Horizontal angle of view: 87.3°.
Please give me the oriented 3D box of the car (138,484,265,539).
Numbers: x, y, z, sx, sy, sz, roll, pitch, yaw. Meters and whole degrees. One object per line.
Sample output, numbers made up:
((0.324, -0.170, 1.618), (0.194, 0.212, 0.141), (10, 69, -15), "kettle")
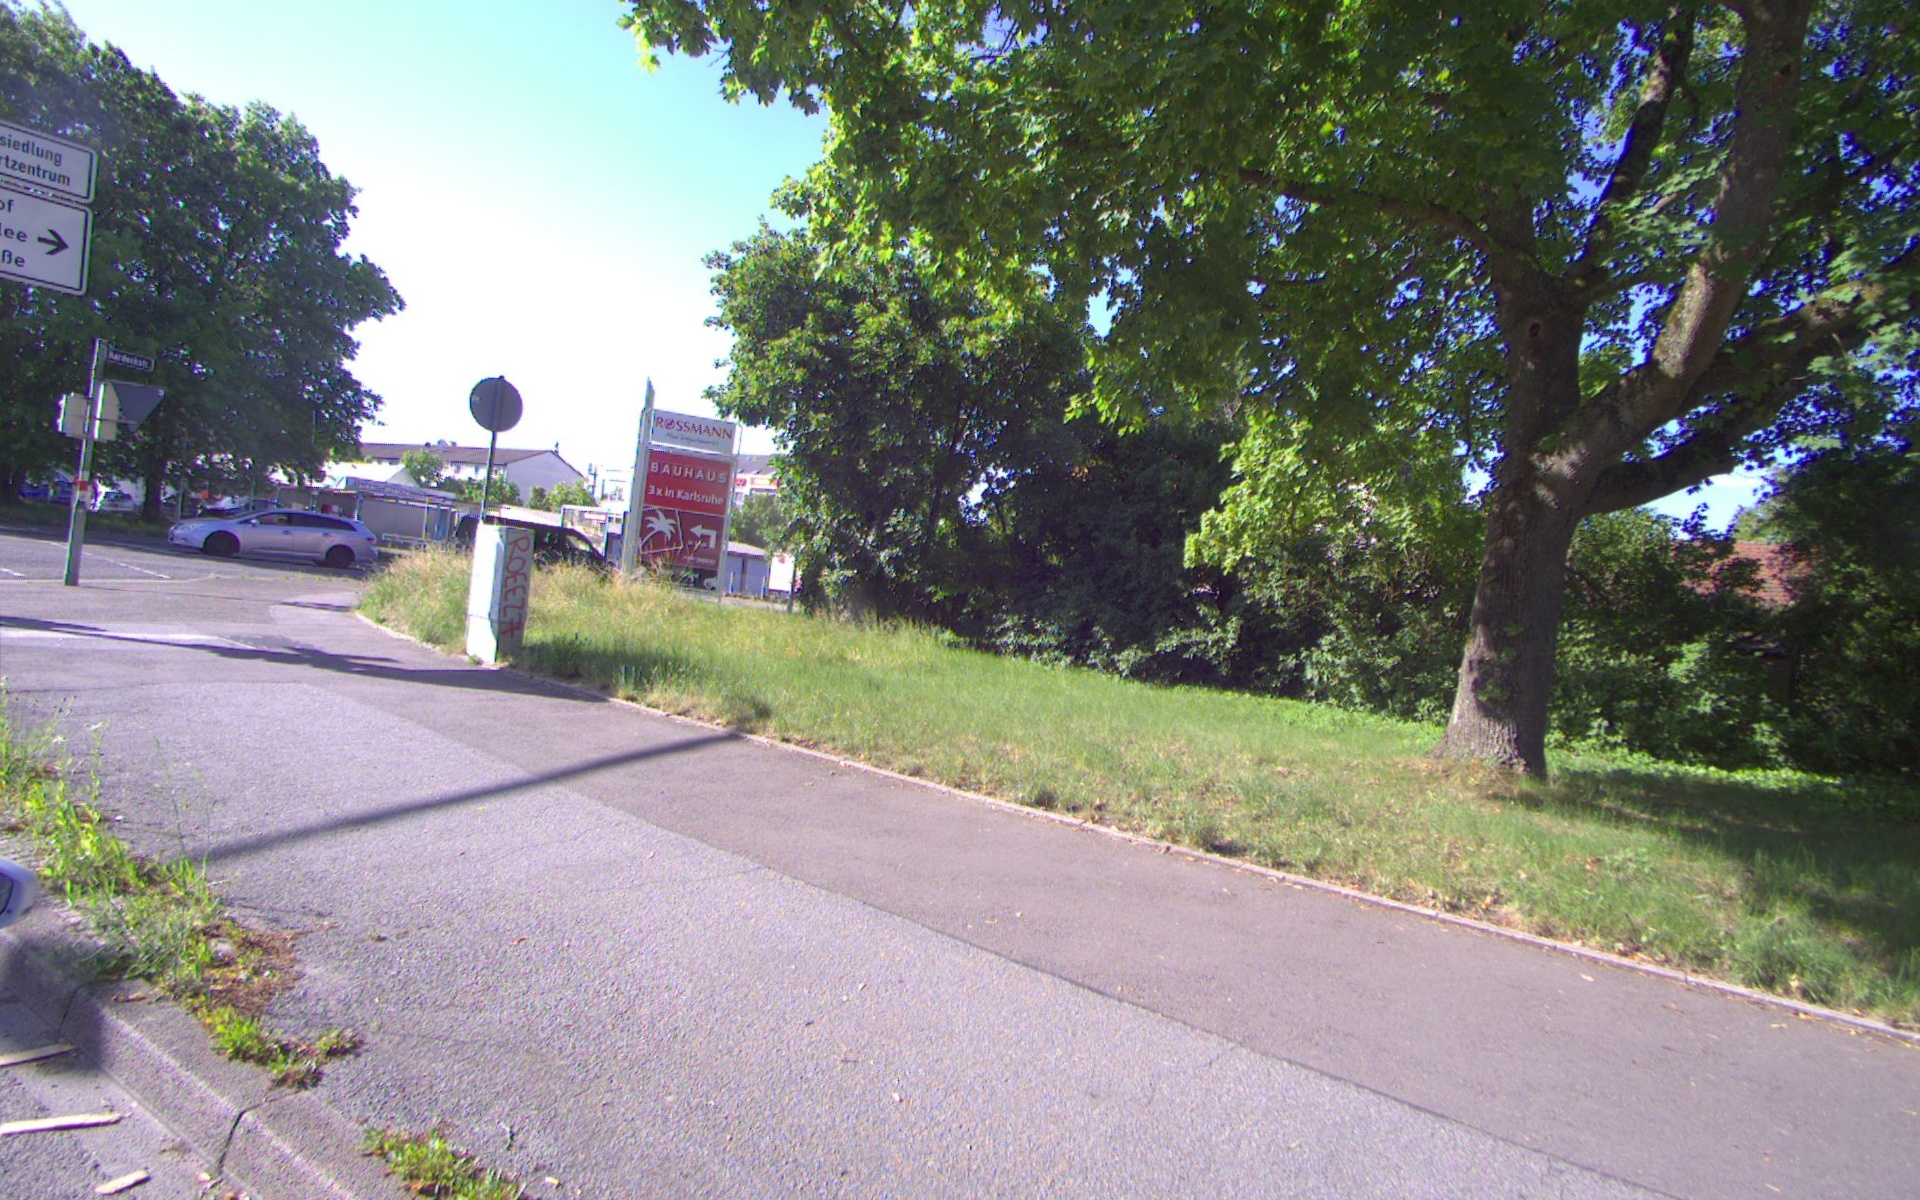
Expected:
((-32.332, -3.732, 43.026), (1.962, 1.772, 4.000), (7, 1, 9), "car")

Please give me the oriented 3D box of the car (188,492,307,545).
((-30.292, -3.427, 42.913), (1.712, 1.701, 4.001), (7, 0, 9), "car")

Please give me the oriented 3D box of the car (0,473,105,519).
((-41.986, -4.769, 46.153), (1.712, 1.537, 3.902), (7, 0, 9), "car")

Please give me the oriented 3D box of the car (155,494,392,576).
((-18.644, -1.734, 27.522), (1.973, 1.504, 4.994), (7, 0, 43), "car")

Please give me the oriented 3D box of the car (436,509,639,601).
((-12.186, -1.247, 29.303), (1.892, 2.017, 4.988), (7, 1, 43), "car")

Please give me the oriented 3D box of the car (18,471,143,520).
((-39.175, -4.628, 44.929), (1.712, 1.537, 3.902), (7, 0, 9), "car")

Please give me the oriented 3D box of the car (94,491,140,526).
((-47.811, -5.191, 57.044), (1.734, 1.701, 3.951), (6, 1, -43), "car")
